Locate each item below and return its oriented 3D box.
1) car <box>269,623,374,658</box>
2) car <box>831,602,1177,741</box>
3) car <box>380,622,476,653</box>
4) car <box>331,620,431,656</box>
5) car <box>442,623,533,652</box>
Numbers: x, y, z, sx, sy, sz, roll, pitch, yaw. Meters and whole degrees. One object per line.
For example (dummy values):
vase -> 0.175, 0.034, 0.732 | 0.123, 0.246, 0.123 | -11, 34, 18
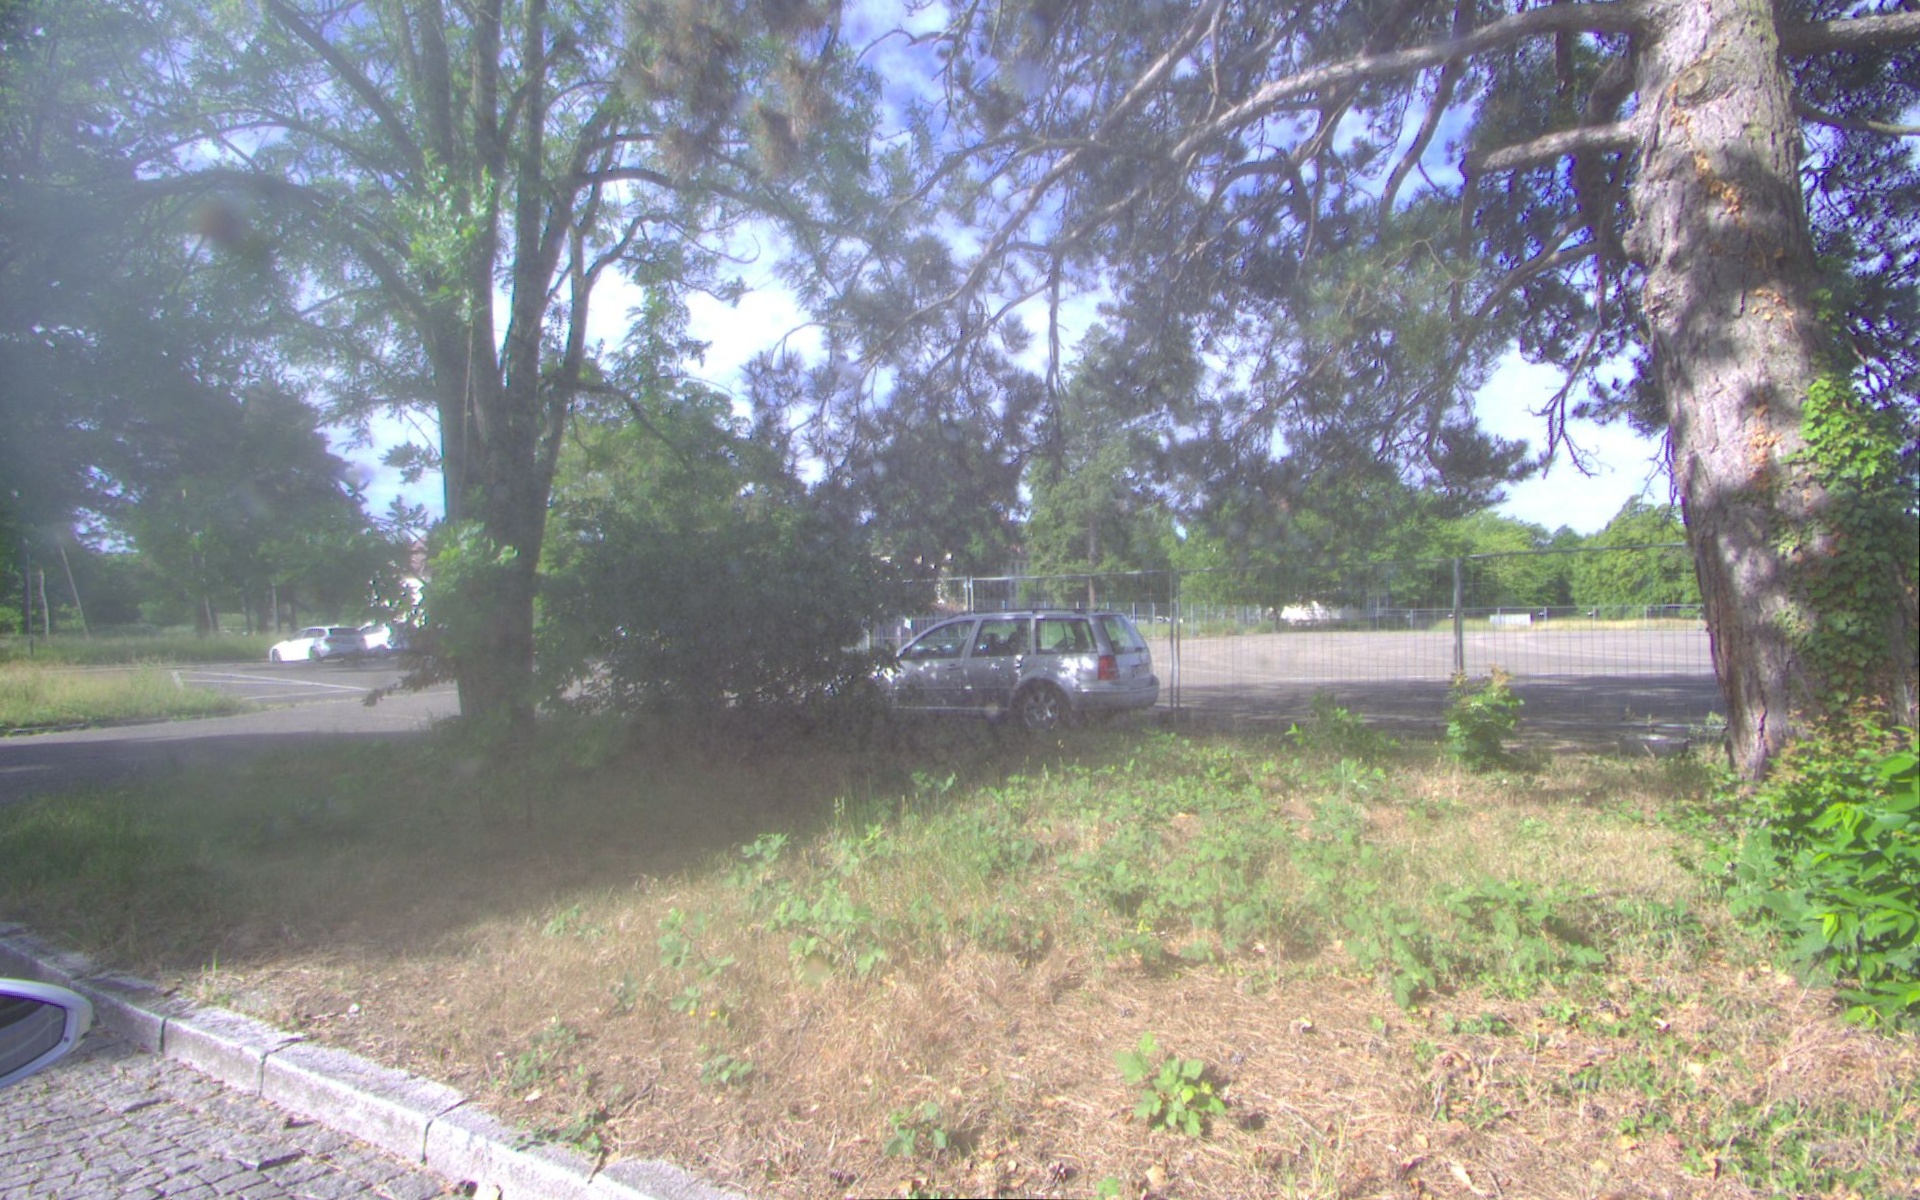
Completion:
car -> -25.816, 1.611, 40.480 | 4.265, 1.329, 1.729 | -1, -1, 28
car -> 0.513, 0.809, 12.365 | 3.938, 1.487, 1.666 | -1, -1, 28
car -> -23.910, 1.682, 44.965 | 4.265, 1.329, 1.729 | -1, 0, 28
car -> -24.771, 1.612, 42.796 | 4.265, 1.496, 1.729 | -1, -1, 28
car -> -22.490, 1.773, 47.679 | 4.265, 1.329, 1.729 | -1, 0, 28
